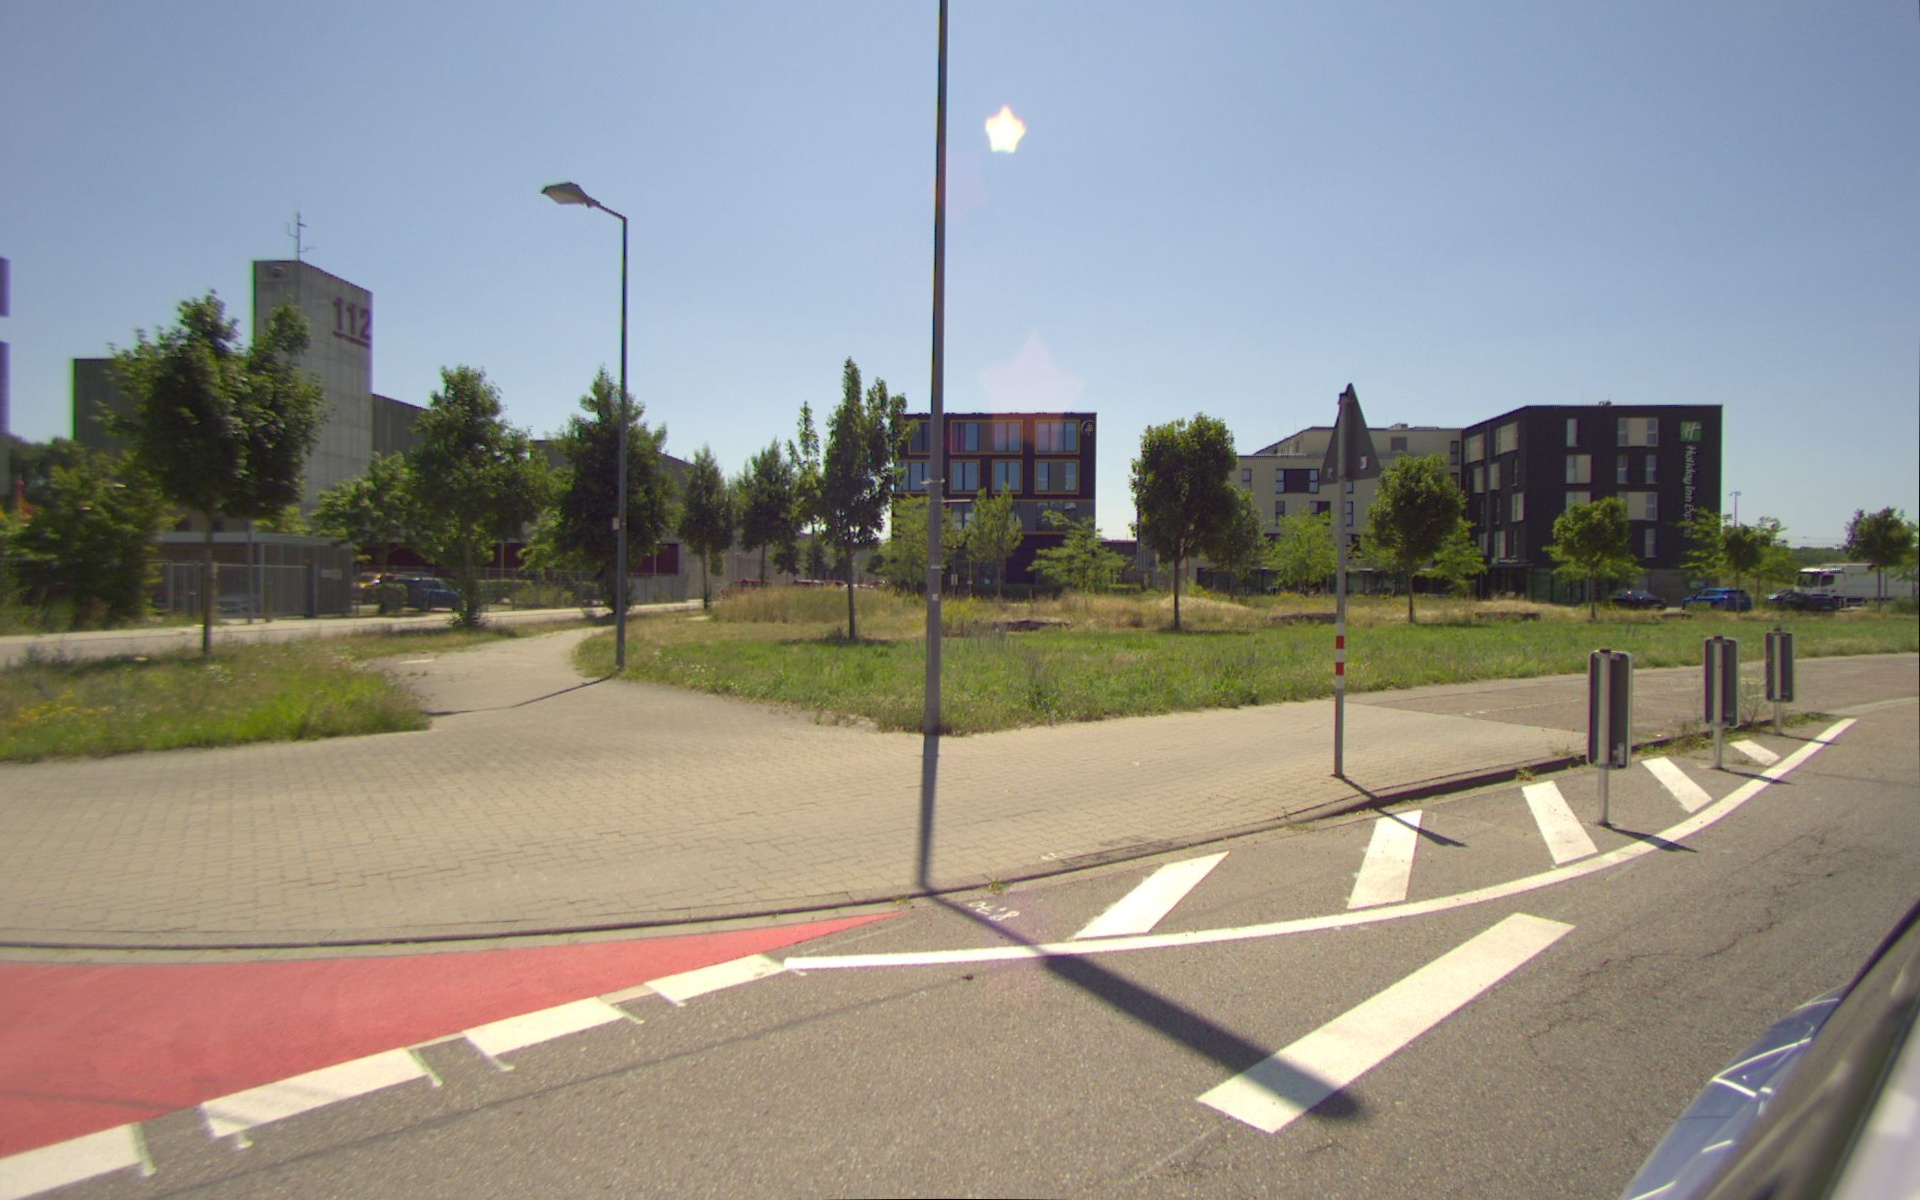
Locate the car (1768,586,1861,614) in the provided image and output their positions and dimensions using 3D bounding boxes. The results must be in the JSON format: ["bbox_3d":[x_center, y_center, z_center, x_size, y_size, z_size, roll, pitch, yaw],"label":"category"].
[{"bbox_3d":[52.211,-0.043,61.931,1.995,1.581,4.505,0,1,3],"label":"car"}]

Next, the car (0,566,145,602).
[{"bbox_3d":[-38.998,-0.735,44.563,1.964,1.454,5.077,1,2,3],"label":"car"}]

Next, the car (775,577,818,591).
[{"bbox_3d":[-18.144,-1.817,112.561,4.441,1.529,1.802,1,1,2],"label":"car"}]

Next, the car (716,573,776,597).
[{"bbox_3d":[-19.951,-1.425,94.448,5.070,2.142,2.234,0,1,6],"label":"car"}]

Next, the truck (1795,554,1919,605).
[{"bbox_3d":[66.938,-1.474,71.893,11.928,3.503,3.015,1,3,6],"label":"truck"}]

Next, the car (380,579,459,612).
[{"bbox_3d":[-26.524,-0.256,49.768,1.625,1.509,3.998,1,2,3],"label":"car"}]

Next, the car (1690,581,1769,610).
[{"bbox_3d":[47.702,-0.322,62.848,1.919,1.672,4.068,1,1,4],"label":"car"}]

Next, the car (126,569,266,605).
[{"bbox_3d":[-32.773,-0.593,43.624,1.967,1.454,4.907,1,2,8],"label":"car"}]

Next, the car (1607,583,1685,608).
[{"bbox_3d":[42.821,-0.307,63.296,1.924,1.462,4.129,1,1,-2],"label":"car"}]
